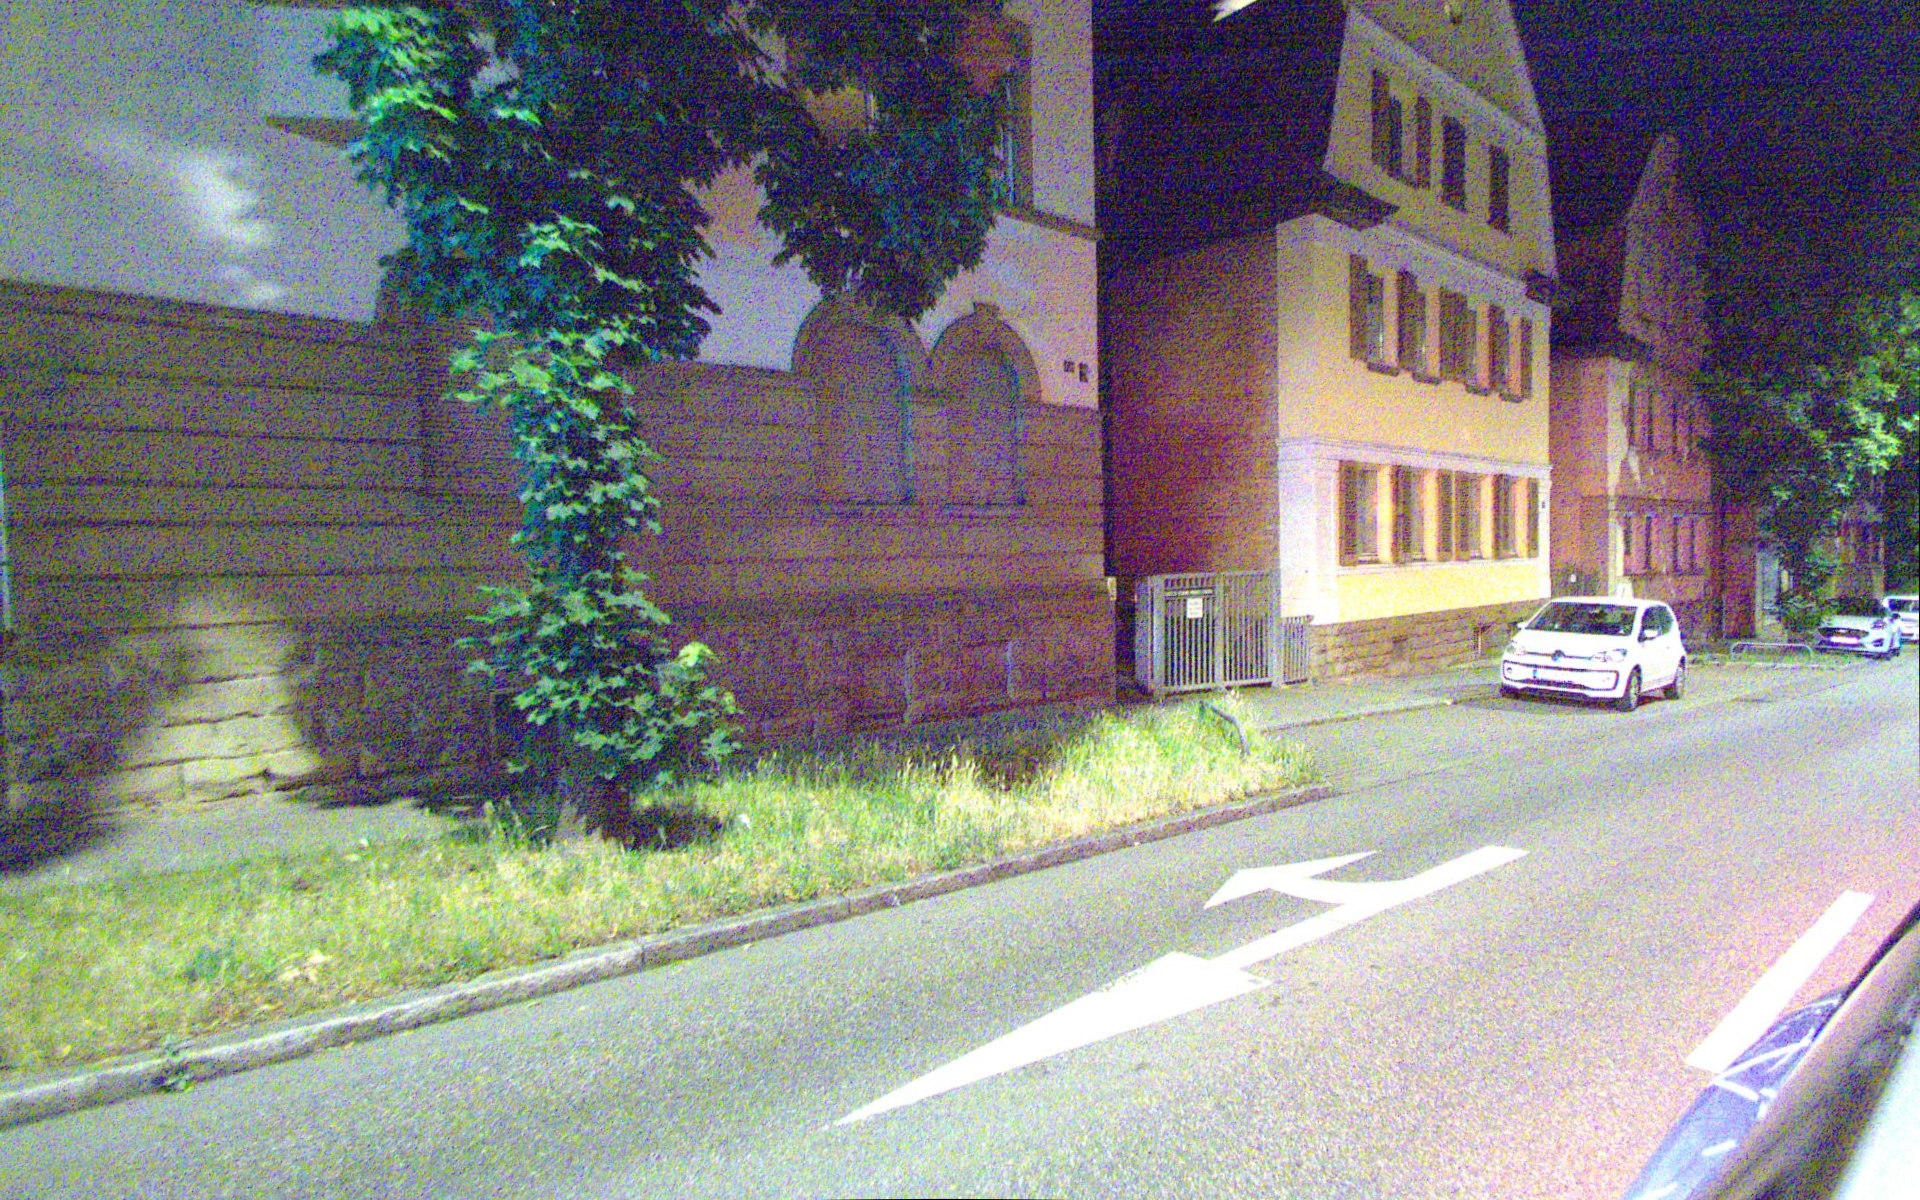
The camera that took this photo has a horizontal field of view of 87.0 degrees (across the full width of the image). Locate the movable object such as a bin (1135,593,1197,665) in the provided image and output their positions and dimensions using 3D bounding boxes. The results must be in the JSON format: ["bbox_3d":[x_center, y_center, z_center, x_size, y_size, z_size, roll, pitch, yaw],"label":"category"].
[{"bbox_3d":[3.126,0.420,15.363,0.742,1.062,0.608,0,0,-41],"label":"movable object such as a bin"}]

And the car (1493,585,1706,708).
[{"bbox_3d":[9.315,0.578,14.653,3.541,1.503,1.671,0,2,-42],"label":"car"}]

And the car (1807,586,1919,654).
[{"bbox_3d":[23.798,0.472,26.573,3.977,1.572,1.862,0,3,-43],"label":"car"}]

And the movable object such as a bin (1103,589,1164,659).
[{"bbox_3d":[2.713,0.357,15.840,0.742,1.062,0.608,0,0,-41],"label":"movable object such as a bin"}]

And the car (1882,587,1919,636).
[{"bbox_3d":[33.781,0.391,35.343,4.281,1.616,1.742,0,3,-40],"label":"car"}]
